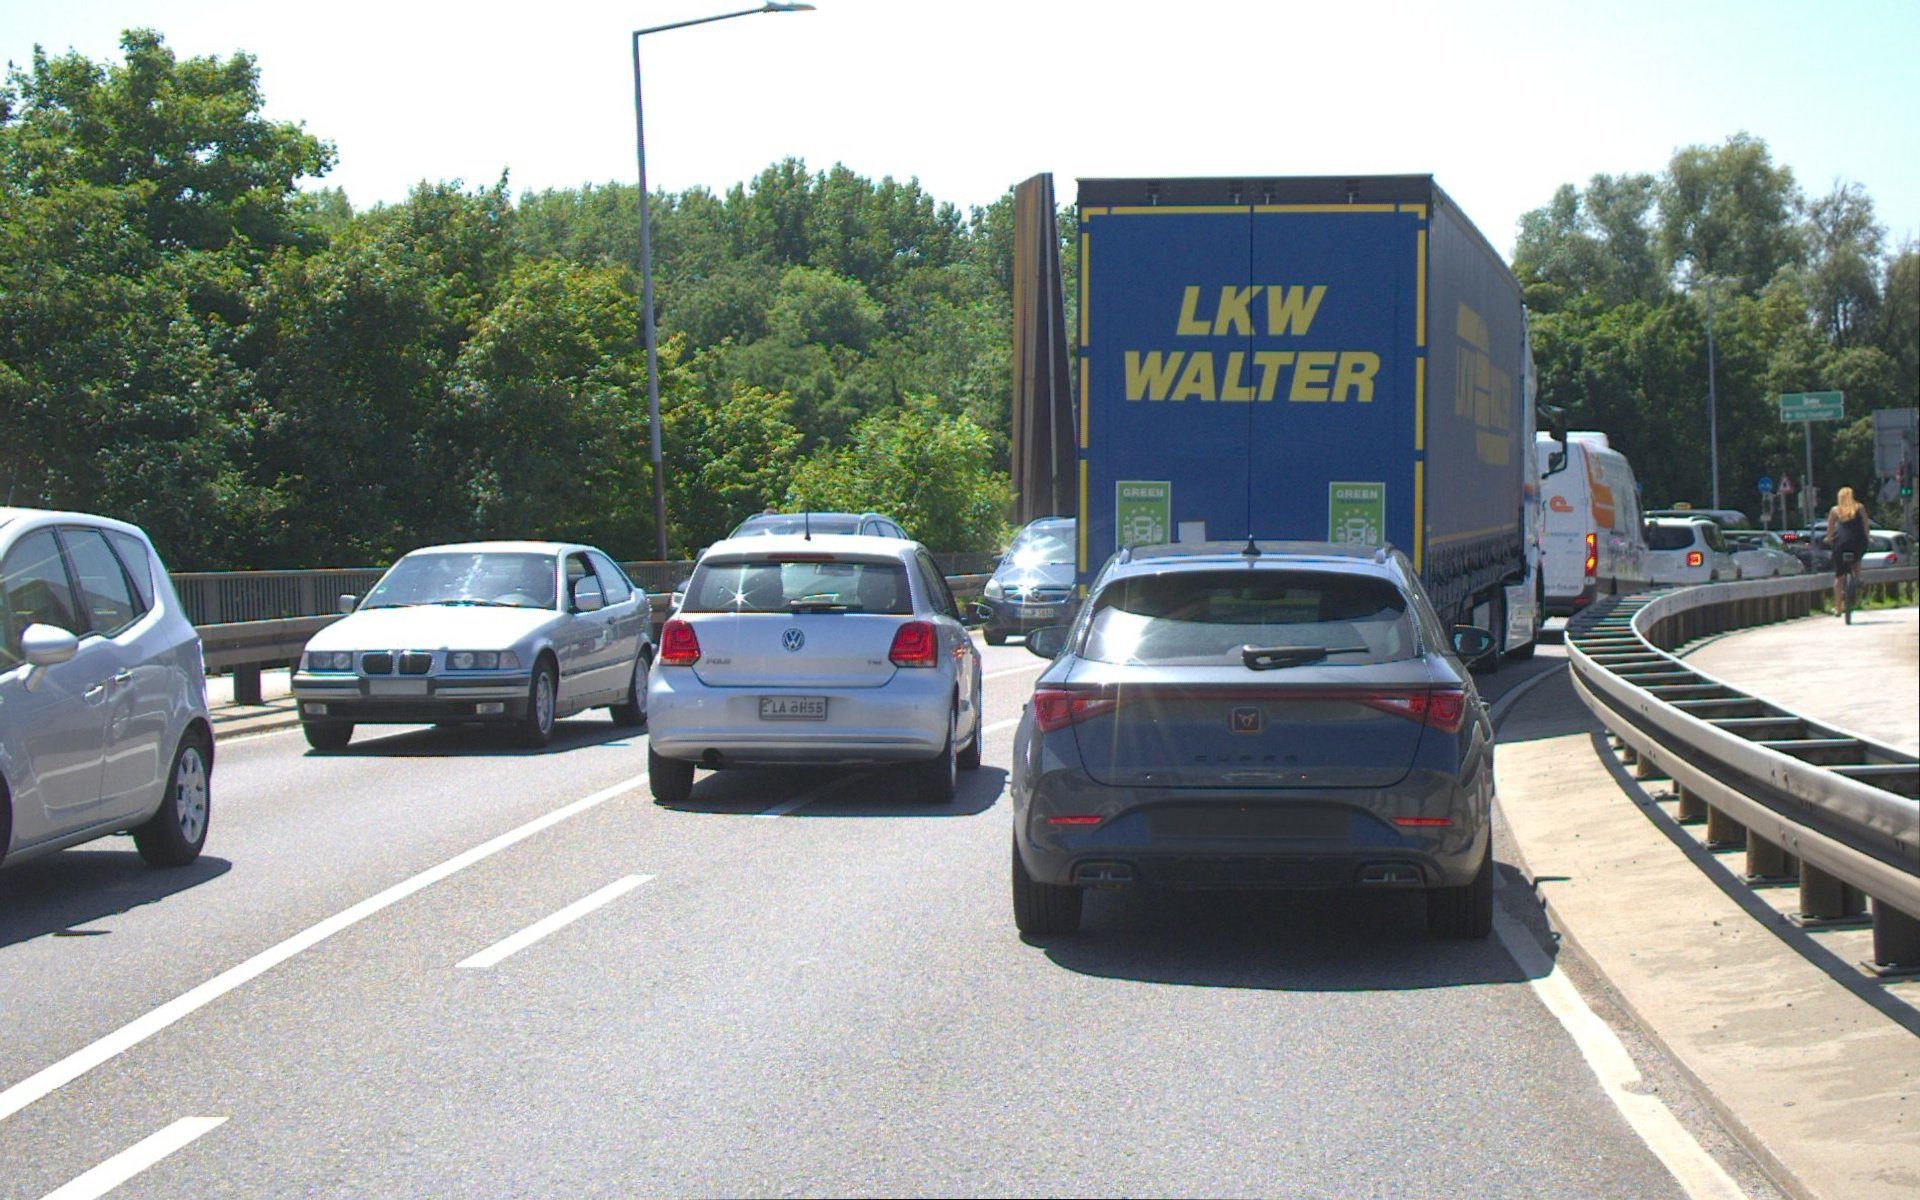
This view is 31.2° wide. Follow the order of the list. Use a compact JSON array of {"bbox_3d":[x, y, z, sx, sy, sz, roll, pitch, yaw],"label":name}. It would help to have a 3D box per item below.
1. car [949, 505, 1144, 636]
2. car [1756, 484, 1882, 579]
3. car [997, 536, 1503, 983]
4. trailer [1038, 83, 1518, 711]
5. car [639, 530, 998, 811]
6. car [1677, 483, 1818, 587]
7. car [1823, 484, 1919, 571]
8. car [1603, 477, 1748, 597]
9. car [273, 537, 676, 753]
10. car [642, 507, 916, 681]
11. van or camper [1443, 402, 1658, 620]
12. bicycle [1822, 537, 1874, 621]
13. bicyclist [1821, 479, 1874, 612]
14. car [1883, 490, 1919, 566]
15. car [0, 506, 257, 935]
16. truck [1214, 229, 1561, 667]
[{"bbox_3d":[1.184,-0.428,45.033,1.707,1.620,4.250,1,2,13],"label":"car"},{"bbox_3d":[17.214,-1.398,68.792,1.723,1.837,3.995,1,2,25],"label":"car"},{"bbox_3d":[1.155,0.491,13.406,1.677,1.451,3.958,0,1,6],"label":"car"},{"bbox_3d":[3.223,-1.607,30.482,2.906,4.403,12.428,1,2,11],"label":"trailer"},{"bbox_3d":[-0.715,0.324,19.868,1.677,1.406,3.975,0,2,3],"label":"car"},{"bbox_3d":[14.067,-1.180,61.297,1.723,1.796,3.995,1,2,24],"label":"car"},{"bbox_3d":[20.046,-1.594,74.793,1.723,1.837,3.995,1,2,25],"label":"car"},{"bbox_3d":[11.509,-1.040,55.163,1.722,1.837,3.996,0,2,20],"label":"car"},{"bbox_3d":[-3.319,0.257,24.252,1.697,1.371,3.999,-1,1,9],"label":"car"},{"bbox_3d":[-1.743,-0.109,34.589,1.802,1.635,4.299,0,1,10],"label":"car"},{"bbox_3d":[8.252,-1.237,47.545,2.156,2.806,6.382,0,2,17],"label":"van or camper"},{"bbox_3d":[11.487,-0.281,44.452,0.582,1.032,1.484,-3,1,16],"label":"bicycle"},{"bbox_3d":[11.479,-0.707,44.447,0.578,1.677,0.729,-3,1,16],"label":"bicyclist"},{"bbox_3d":[23.123,-1.686,81.085,1.688,1.754,3.993,1,1,29],"label":"car"},{"bbox_3d":[-4.296,0.427,13.714,1.737,1.574,4.176,-1,1,6],"label":"car"},{"bbox_3d":[4.874,-1.630,38.083,2.906,4.403,6.551,1,2,15],"label":"truck"}]
